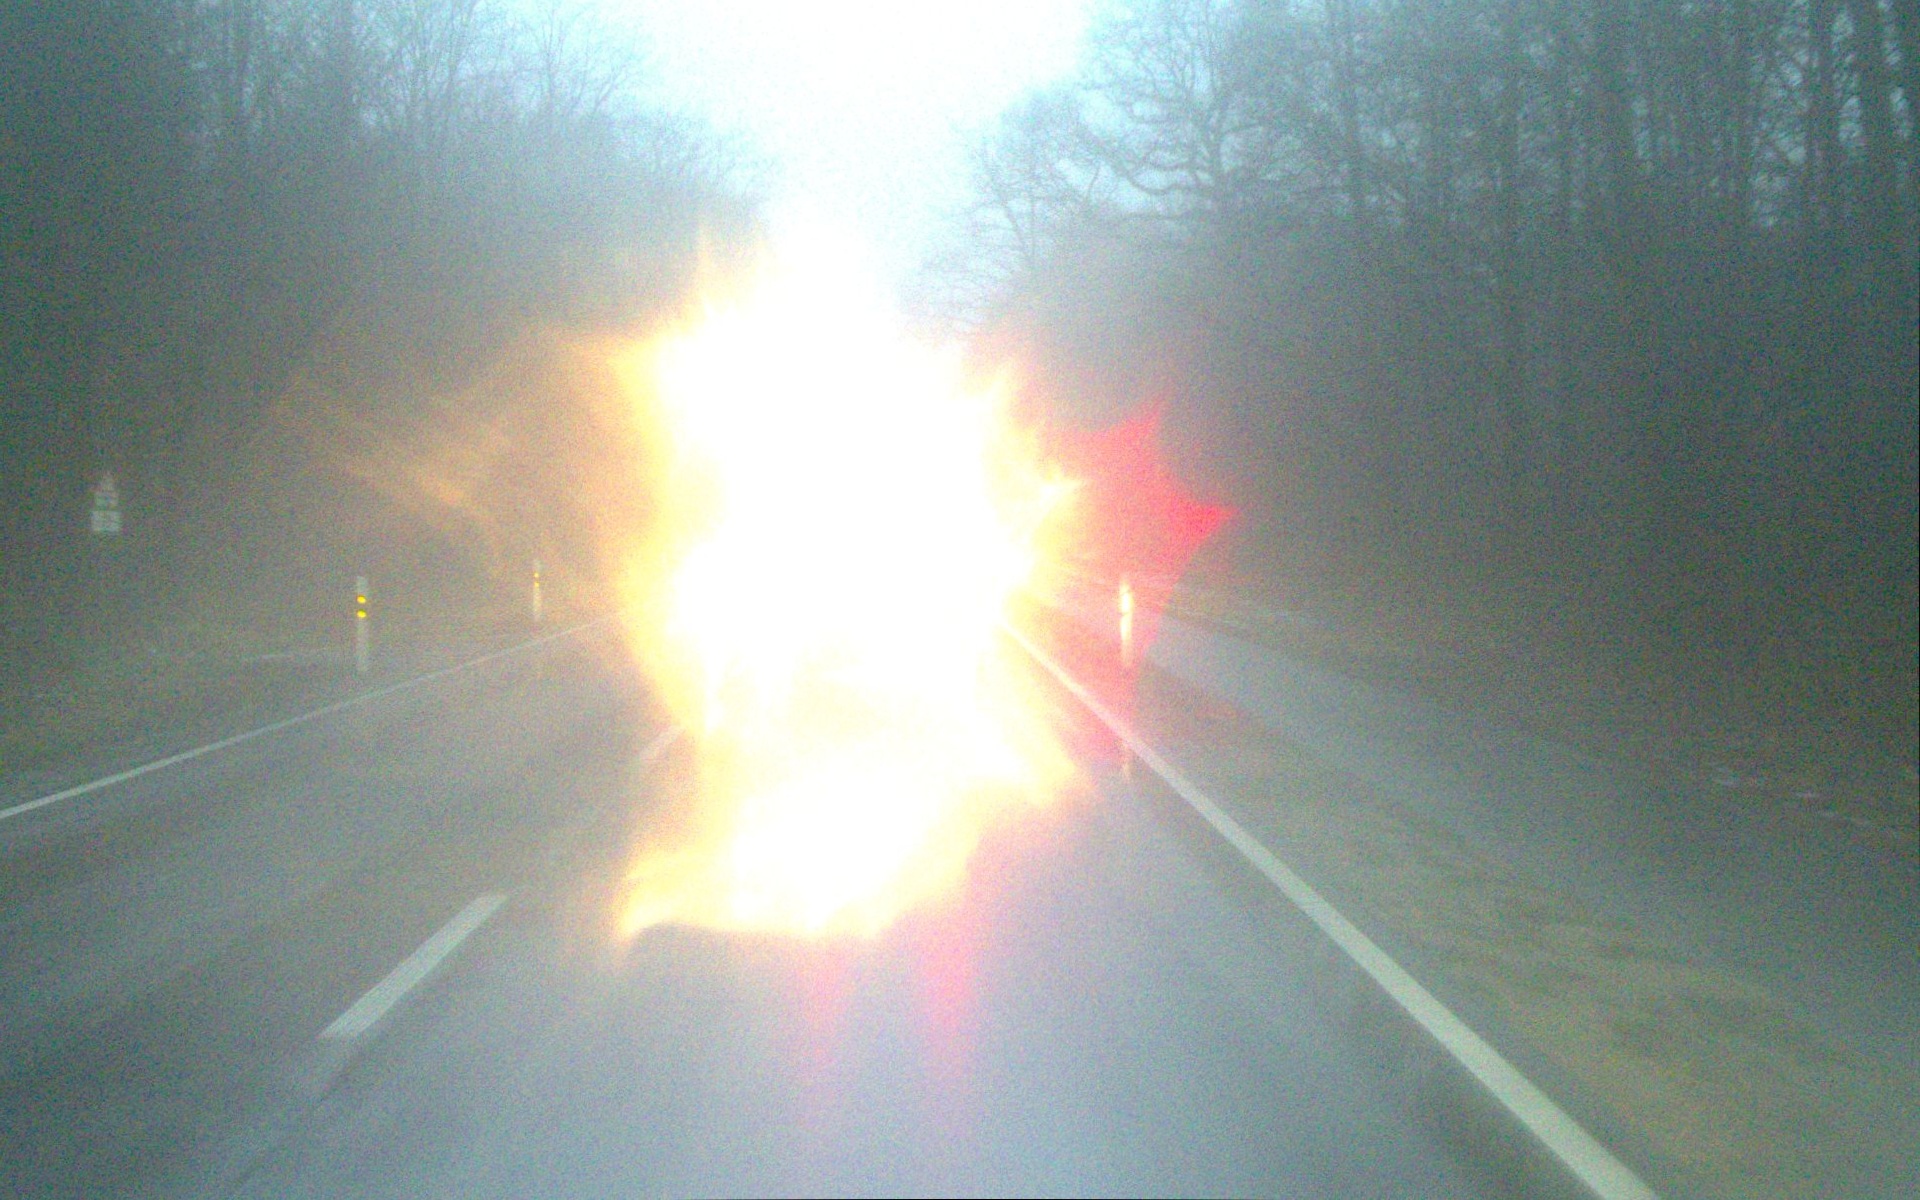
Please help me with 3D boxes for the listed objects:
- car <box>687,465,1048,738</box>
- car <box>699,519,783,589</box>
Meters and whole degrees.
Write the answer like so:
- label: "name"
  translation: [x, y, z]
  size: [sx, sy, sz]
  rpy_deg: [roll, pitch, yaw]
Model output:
- label: "car"
  translation: [-0.821, -0.041, 33.954]
  size: [3.183, 2.378, 6.636]
  rpy_deg: [1, 1, 0]
- label: "car"
  translation: [-5.266, -1.116, 82.932]
  size: [1.800, 1.595, 3.862]
  rpy_deg: [-2, 1, -1]
